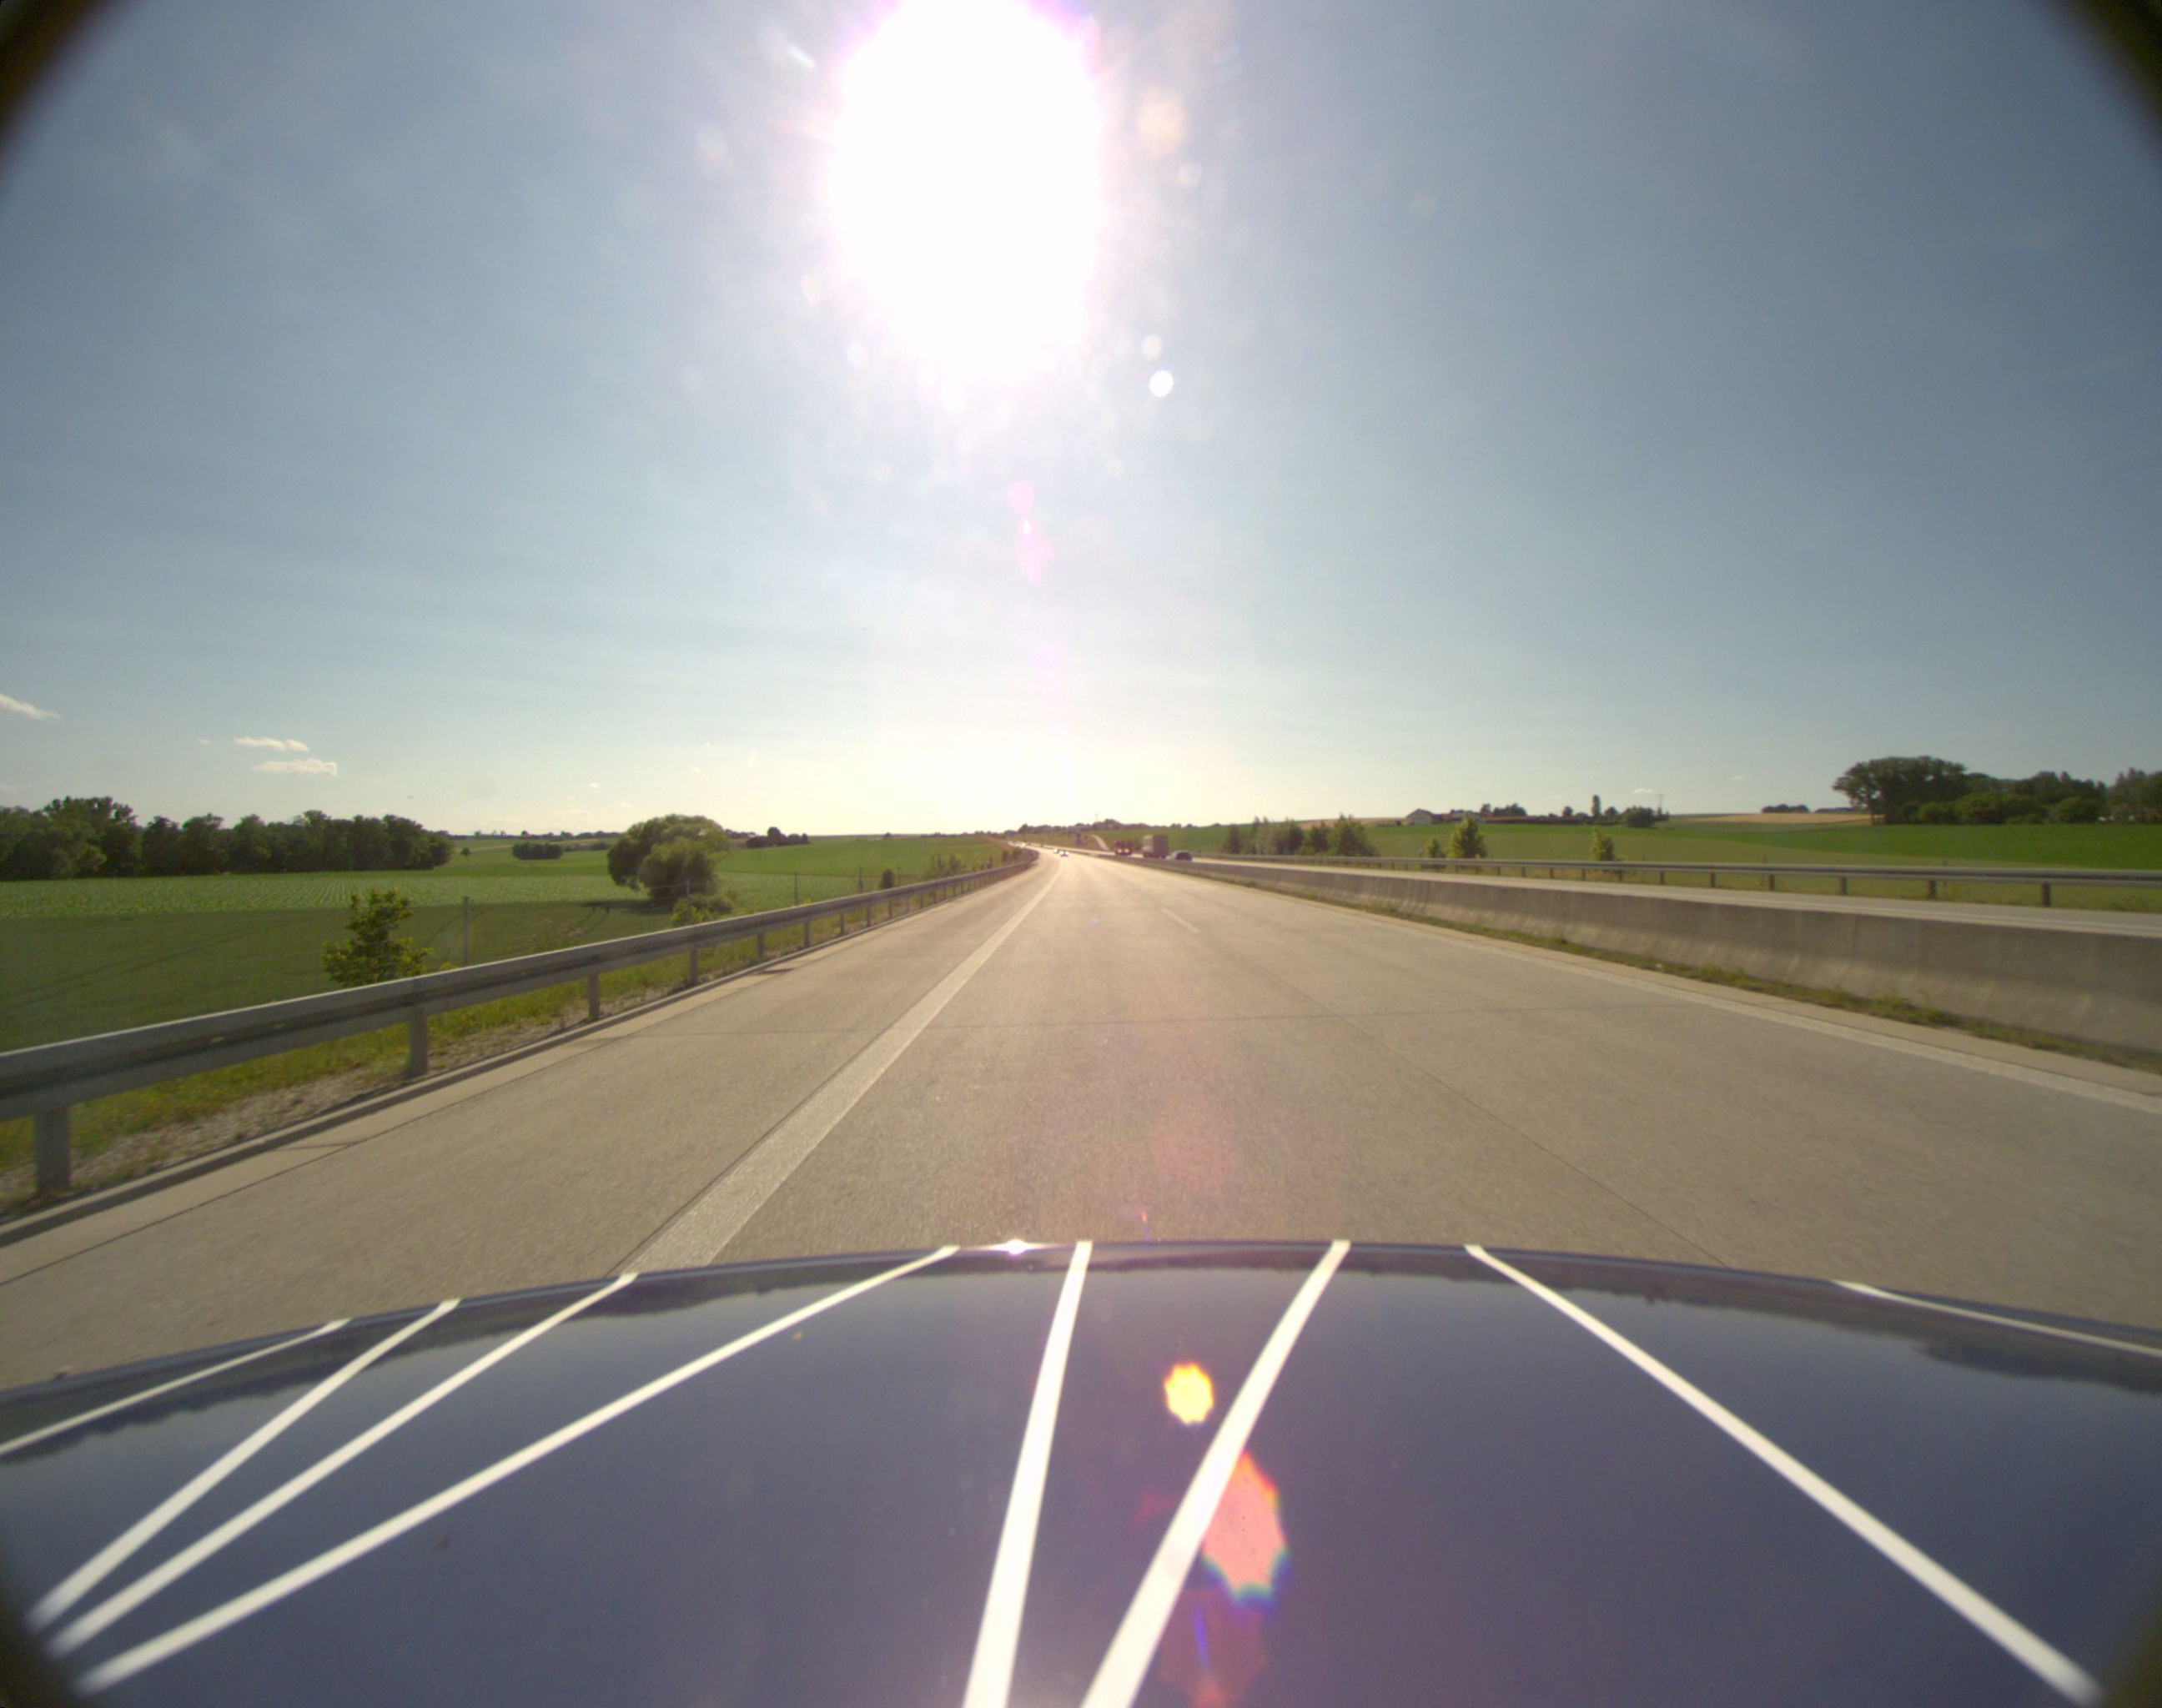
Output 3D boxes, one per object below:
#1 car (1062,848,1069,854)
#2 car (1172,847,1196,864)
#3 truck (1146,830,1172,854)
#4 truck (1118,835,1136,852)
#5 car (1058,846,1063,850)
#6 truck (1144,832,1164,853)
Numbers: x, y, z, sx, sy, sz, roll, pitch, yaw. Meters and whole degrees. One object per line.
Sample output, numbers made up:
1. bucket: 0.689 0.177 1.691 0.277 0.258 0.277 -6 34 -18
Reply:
1. car: -3.772 -0.747 188.152 1.715 1.580 4.626 -2 1 -1
2. car: 10.448 0.145 77.420 1.715 1.580 4.626 -2 1 -1
3. truck: 13.529 -2.050 133.508 2.867 3.985 13.864 -1 1 -1
4. truck: 11.285 -2.664 188.112 2.875 3.992 17.109 -1 1 -2
5. car: -7.107 -2.071 262.328 1.715 1.580 4.626 -2 1 -1
6. truck: 13.428 -2.091 140.139 2.868 3.851 5.981 -1 1 -1
